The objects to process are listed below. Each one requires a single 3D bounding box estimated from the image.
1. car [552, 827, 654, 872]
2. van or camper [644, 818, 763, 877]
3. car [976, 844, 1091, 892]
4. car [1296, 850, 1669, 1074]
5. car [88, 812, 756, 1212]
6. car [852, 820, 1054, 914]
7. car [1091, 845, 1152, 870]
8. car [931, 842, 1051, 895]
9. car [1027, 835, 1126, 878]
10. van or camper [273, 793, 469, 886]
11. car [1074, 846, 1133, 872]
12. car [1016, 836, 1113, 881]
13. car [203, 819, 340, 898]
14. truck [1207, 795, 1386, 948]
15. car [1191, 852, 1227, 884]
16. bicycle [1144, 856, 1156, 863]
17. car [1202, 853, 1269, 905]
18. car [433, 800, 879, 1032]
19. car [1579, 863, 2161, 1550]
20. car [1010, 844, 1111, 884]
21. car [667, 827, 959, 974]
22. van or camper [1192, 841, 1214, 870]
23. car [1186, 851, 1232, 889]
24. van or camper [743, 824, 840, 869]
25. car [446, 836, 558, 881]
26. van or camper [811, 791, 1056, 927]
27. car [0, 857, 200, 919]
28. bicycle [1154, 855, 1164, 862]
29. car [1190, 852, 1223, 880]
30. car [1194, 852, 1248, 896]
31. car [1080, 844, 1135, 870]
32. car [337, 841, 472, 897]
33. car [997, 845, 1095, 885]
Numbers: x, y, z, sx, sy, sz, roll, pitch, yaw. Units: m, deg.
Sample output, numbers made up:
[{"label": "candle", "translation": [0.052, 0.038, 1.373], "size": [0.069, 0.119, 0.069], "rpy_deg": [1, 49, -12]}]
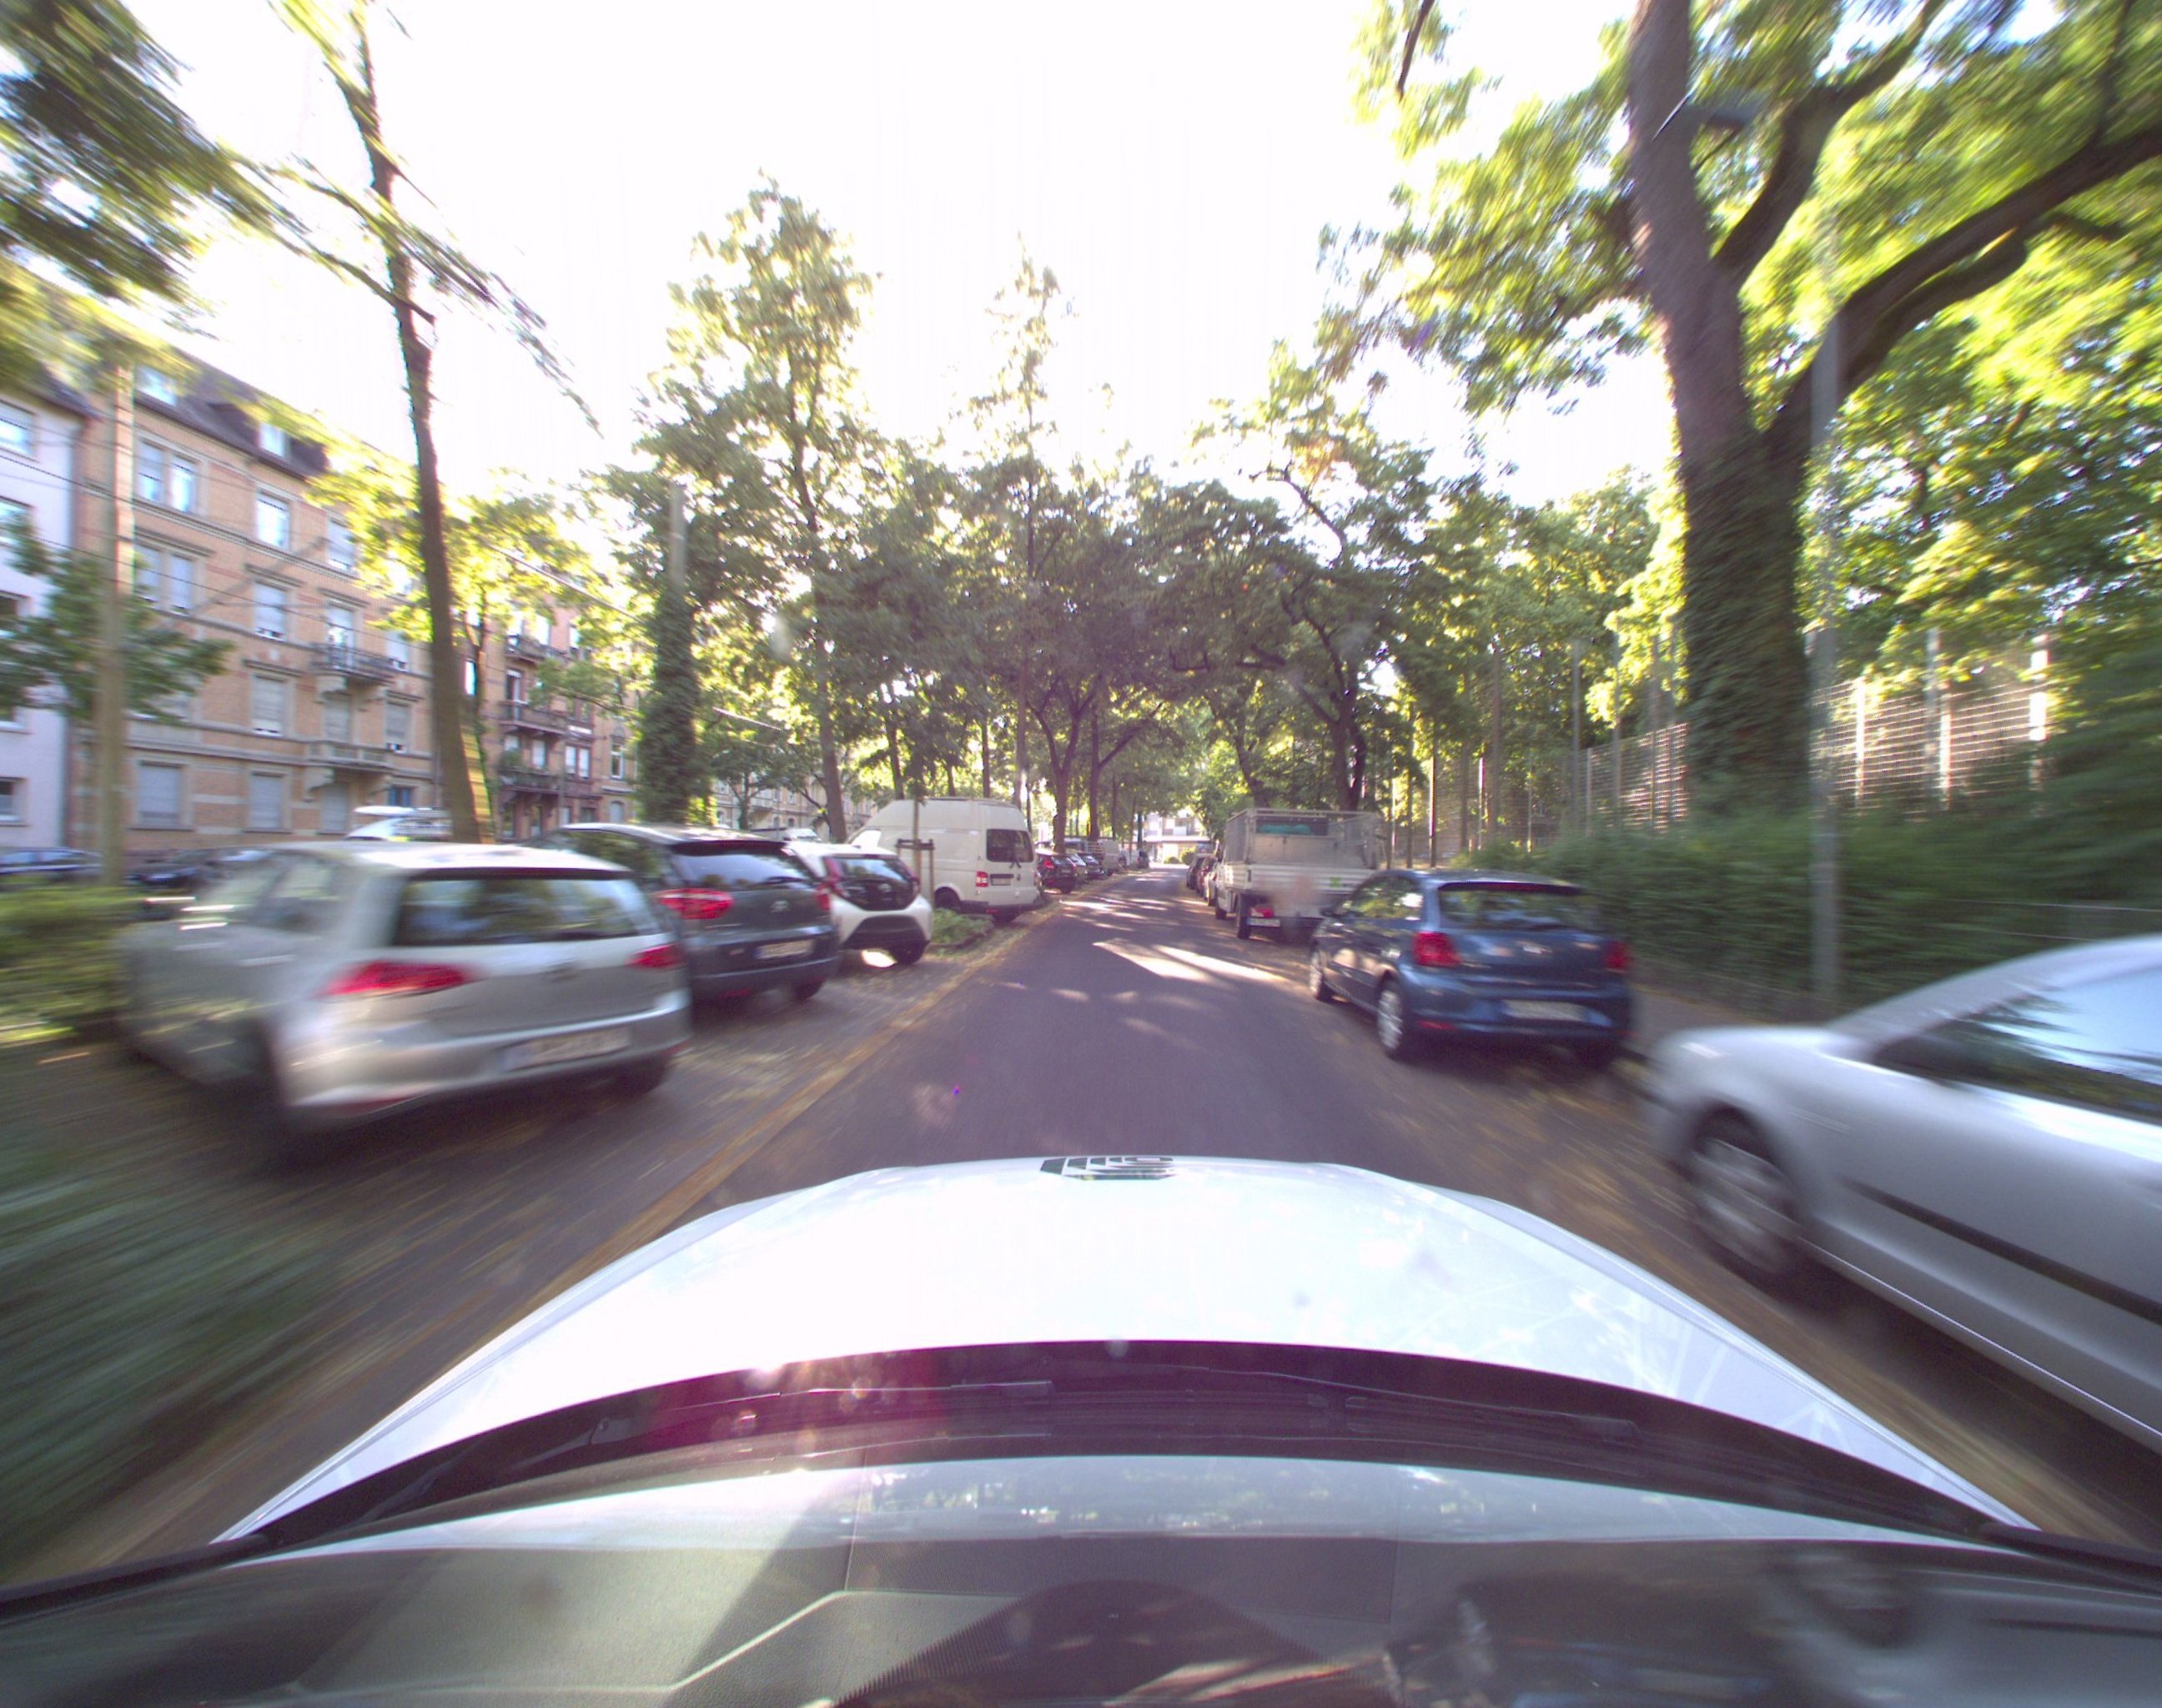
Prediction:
[{"label": "car", "translation": [-17.957, -0.150, 30.541], "size": [4.269, 1.582, 1.919], "rpy_deg": [0, 0, 39]}, {"label": "van or camper", "translation": [-17.049, -0.270, 36.689], "size": [5.605, 2.468, 2.012], "rpy_deg": [0, 0, 30]}, {"label": "car", "translation": [-1.736, 0.489, 28.954], "size": [3.777, 1.439, 1.836], "rpy_deg": [4, 0, 40]}, {"label": "car", "translation": [3.192, 0.720, 7.398], "size": [1.665, 1.458, 3.897], "rpy_deg": [1, 0, 4]}, {"label": "car", "translation": [-4.226, 0.589, 5.073], "size": [4.190, 1.440, 1.868], "rpy_deg": [4, 0, 31]}, {"label": "car", "translation": [-3.269, 0.257, 20.382], "size": [4.824, 1.977, 2.058], "rpy_deg": [3, 0, 35]}, {"label": "car", "translation": [3.499, 0.303, 71.454], "size": [4.939, 1.781, 2.000], "rpy_deg": [4, 0, 35]}, {"label": "car", "translation": [-2.999, 0.458, 26.826], "size": [3.505, 1.493, 1.837], "rpy_deg": [4, 0, 35]}, {"label": "car", "translation": [-0.312, 0.106, 47.560], "size": [5.444, 2.137, 2.094], "rpy_deg": [4, 0, 36]}, {"label": "van or camper", "translation": [-26.037, -0.507, 30.249], "size": [2.064, 3.109, 5.522], "rpy_deg": [1, 0, 5]}, {"label": "car", "translation": [1.698, 0.365, 62.362], "size": [4.108, 1.644, 1.927], "rpy_deg": [4, 0, 39]}, {"label": "car", "translation": [-0.885, 0.206, 41.225], "size": [4.654, 1.942, 1.946], "rpy_deg": [4, 0, 40]}, {"label": "car", "translation": [-18.833, 0.103, 18.901], "size": [3.948, 1.647, 1.749], "rpy_deg": [0, 0, 38]}, {"label": "truck", "translation": [3.951, 0.276, 16.404], "size": [2.285, 2.386, 6.943], "rpy_deg": [1, 0, 5]}, {"label": "car", "translation": [6.205, 0.649, 39.889], "size": [1.582, 1.454, 3.561], "rpy_deg": [1, 0, 7]}, {"label": "bicycle", "translation": [10.233, 0.879, 120.735], "size": [0.642, 1.022, 2.069], "rpy_deg": [1, 0, -28]}, {"label": "car", "translation": [4.604, 0.701, 24.758], "size": [1.663, 1.397, 4.307], "rpy_deg": [1, 0, 7]}, {"label": "car", "translation": [-4.191, 0.434, 7.964], "size": [3.990, 1.662, 1.868], "rpy_deg": [4, 0, 28]}, {"label": "car", "translation": [3.184, 0.788, 1.964], "size": [1.666, 1.458, 3.895], "rpy_deg": [1, 0, 2]}, {"label": "car", "translation": [-1.015, 0.455, 38.456], "size": [4.514, 1.540, 1.946], "rpy_deg": [4, 0, 40]}, {"label": "car", "translation": [-3.565, 0.508, 10.698], "size": [3.505, 1.493, 1.837], "rpy_deg": [4, 0, 35]}, {"label": "van or camper", "translation": [12.113, 0.118, 80.990], "size": [2.072, 2.762, 5.858], "rpy_deg": [1, 0, 8]}, {"label": "car", "translation": [5.342, 0.640, 34.381], "size": [1.664, 1.454, 3.955], "rpy_deg": [1, 0, 6]}, {"label": "van or camper", "translation": [-16.222, -0.373, 45.566], "size": [5.480, 2.371, 2.322], "rpy_deg": [0, 0, 34]}, {"label": "car", "translation": [-25.441, 0.159, 35.941], "size": [1.842, 1.782, 3.922], "rpy_deg": [3, 1, 5]}, {"label": "van or camper", "translation": [-3.168, 0.022, 17.079], "size": [4.824, 2.470, 2.058], "rpy_deg": [3, 0, 33]}, {"label": "car", "translation": [-26.913, 0.857, 22.172], "size": [1.842, 1.404, 3.513], "rpy_deg": [3, 1, 5]}, {"label": "bicycle", "translation": [11.370, 0.651, 118.758], "size": [0.545, 0.904, 1.720], "rpy_deg": [1, 0, -27]}, {"label": "car", "translation": [6.902, 0.633, 45.088], "size": [1.672, 1.454, 4.083], "rpy_deg": [1, 0, 7]}, {"label": "car", "translation": [5.055, 0.678, 29.762], "size": [1.664, 1.454, 3.955], "rpy_deg": [1, 0, 6]}, {"label": "car", "translation": [2.136, 0.242, 65.563], "size": [4.109, 1.781, 1.895], "rpy_deg": [4, 0, 43]}, {"label": "car", "translation": [-18.309, 0.371, 22.015], "size": [3.948, 1.381, 1.815], "rpy_deg": [0, 0, 35]}, {"label": "car", "translation": [-1.564, 0.470, 35.817], "size": [4.042, 1.488, 1.795], "rpy_deg": [4, 0, 38]}]
